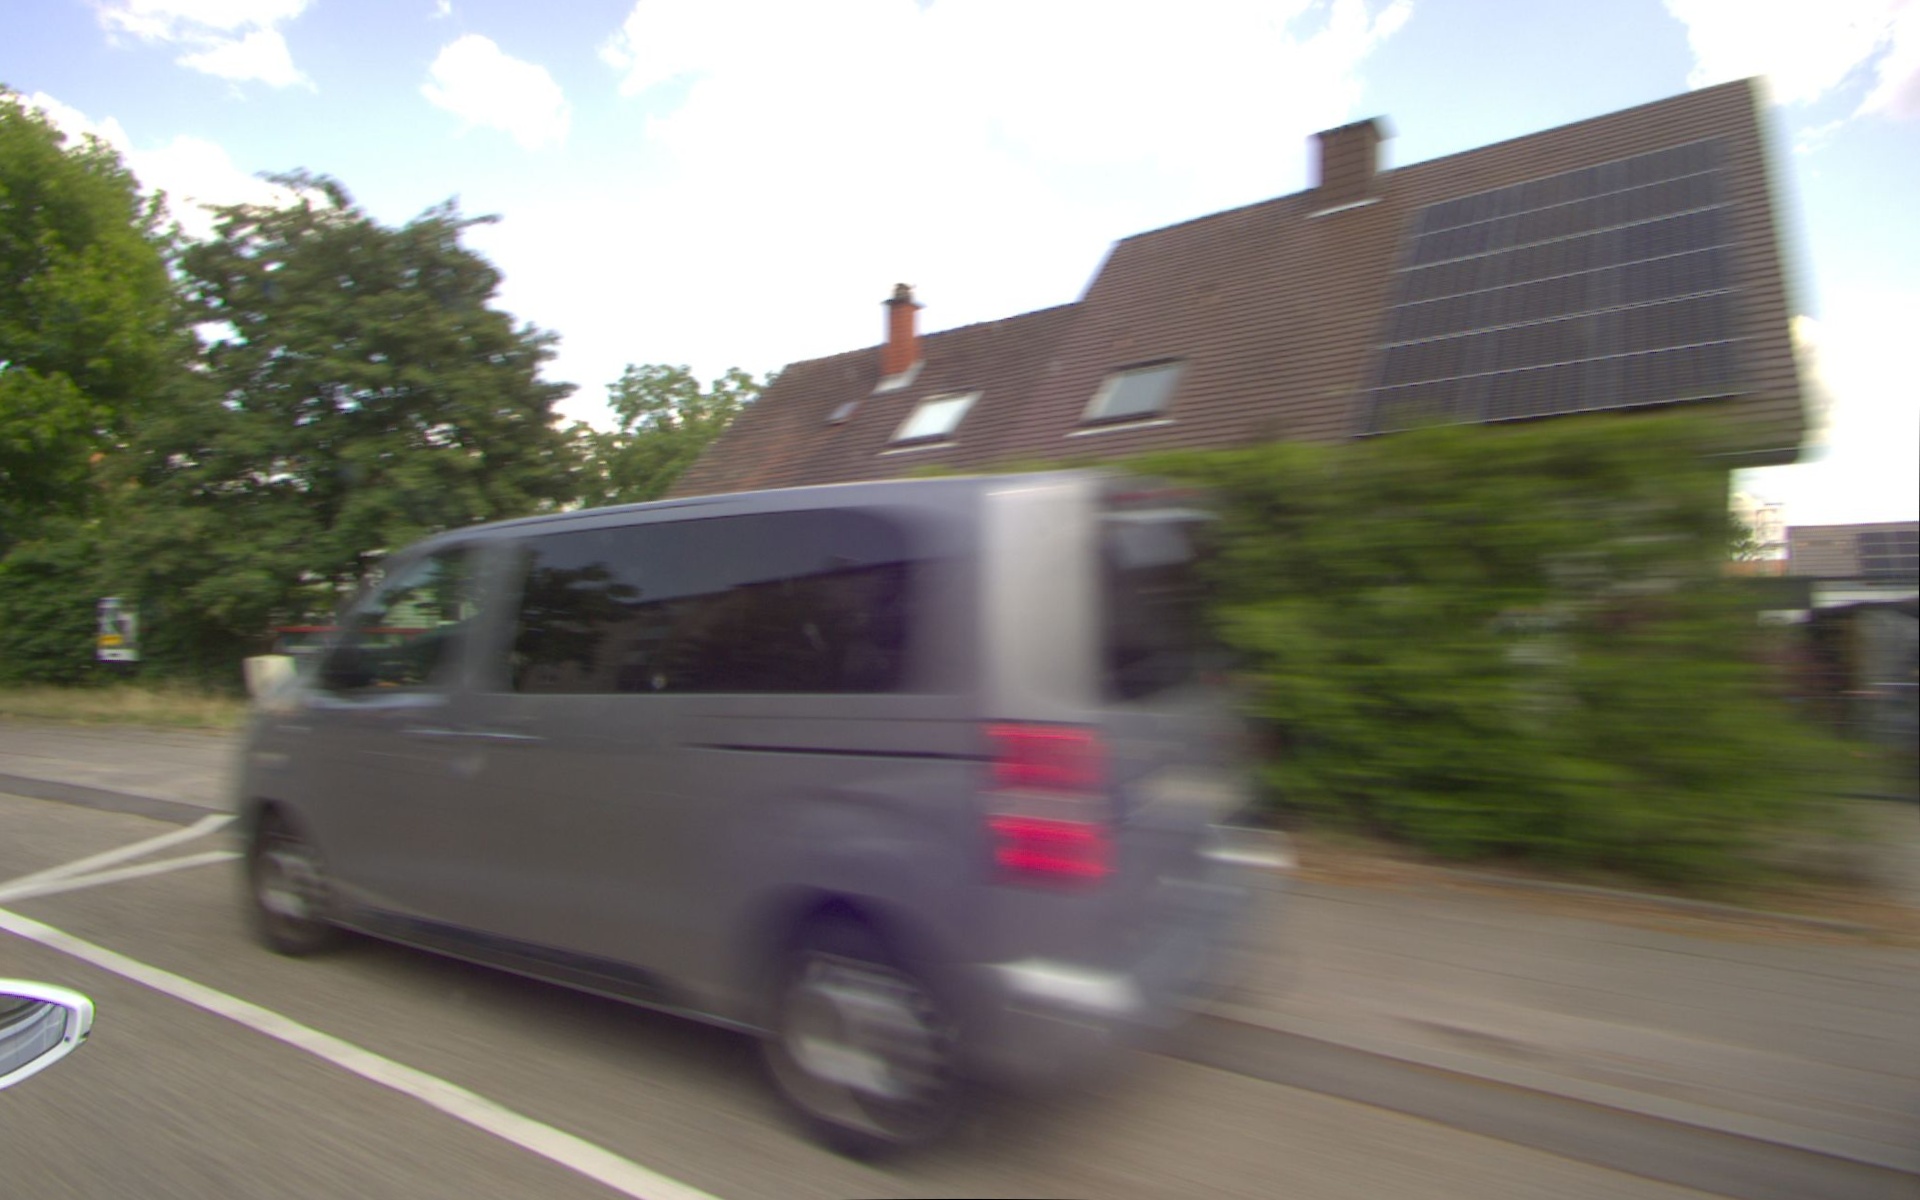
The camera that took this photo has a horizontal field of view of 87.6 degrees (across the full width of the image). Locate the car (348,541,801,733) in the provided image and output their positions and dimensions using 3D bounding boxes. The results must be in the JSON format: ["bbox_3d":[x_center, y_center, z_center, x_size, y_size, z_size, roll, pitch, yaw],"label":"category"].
[{"bbox_3d":[-4.930,0.535,13.408,5.302,2.083,1.983,3,-3,-41],"label":"car"}]

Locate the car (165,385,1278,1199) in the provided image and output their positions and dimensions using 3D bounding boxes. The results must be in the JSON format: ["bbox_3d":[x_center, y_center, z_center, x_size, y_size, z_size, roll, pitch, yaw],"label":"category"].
[{"bbox_3d":[-1.304,0.532,4.312,4.806,1.970,1.838,-1,0,32],"label":"car"}]
